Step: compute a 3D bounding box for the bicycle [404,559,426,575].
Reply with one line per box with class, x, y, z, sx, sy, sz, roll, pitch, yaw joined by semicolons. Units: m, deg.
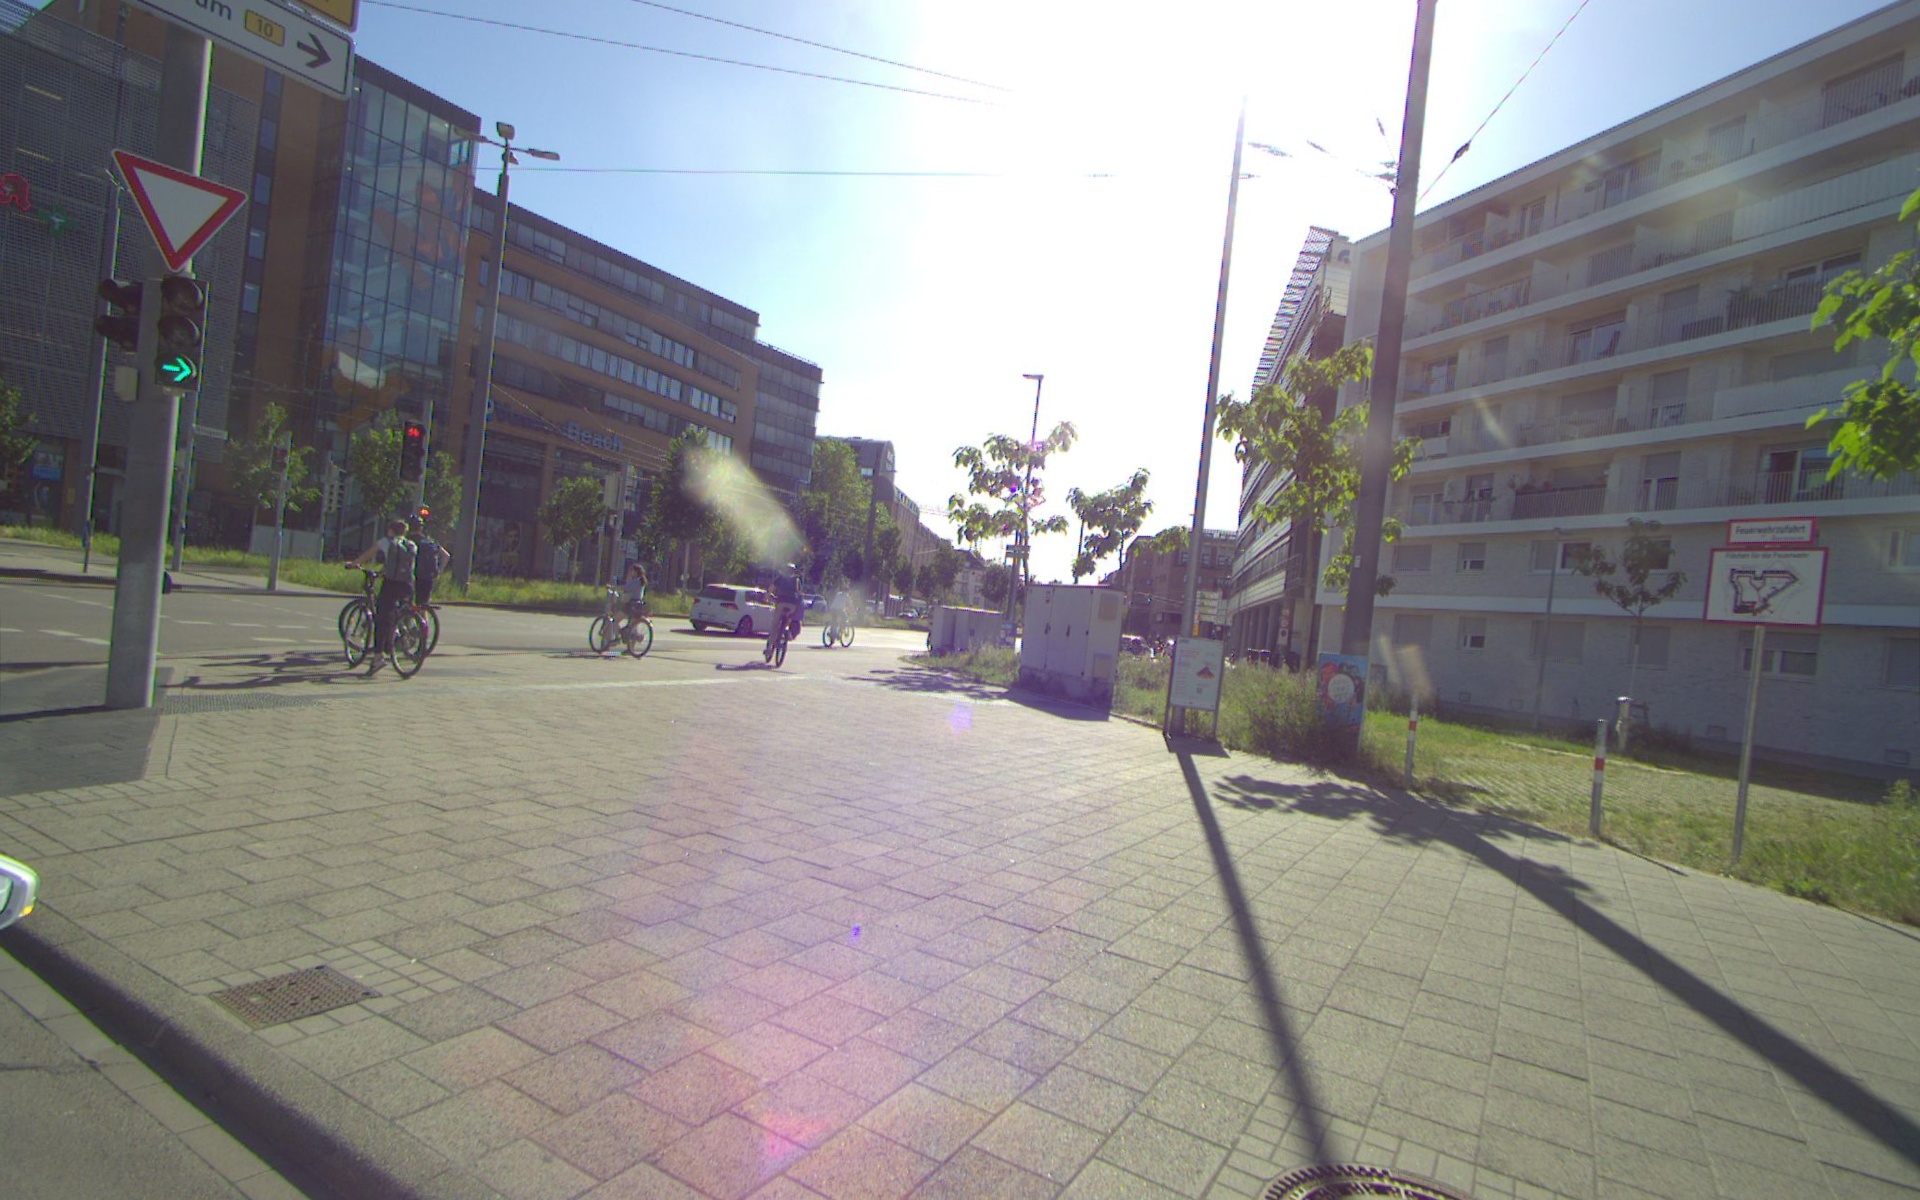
bicycle;-34.449;-2.085;63.591;1.425;0.829;0.445;7;1;27

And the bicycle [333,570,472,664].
bicycle;-7.339;0.216;13.223;1.862;1.051;0.605;5;0;27

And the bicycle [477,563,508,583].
bicycle;-33.522;-1.963;72.088;2.142;1.137;0.752;7;0;27

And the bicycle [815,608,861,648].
bicycle;-3.692;0.842;30.576;0.676;1.082;2.698;8;0;6

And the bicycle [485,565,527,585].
bicycle;-30.409;-1.687;67.458;0.588;1.022;2.563;6;-1;33

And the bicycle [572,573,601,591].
bicycle;-28.993;-1.399;78.083;2.142;1.137;0.752;7;0;27

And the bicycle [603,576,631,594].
bicycle;-27.694;-1.229;81.142;2.142;1.137;0.752;7;0;27

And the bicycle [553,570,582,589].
bicycle;-29.941;-1.546;76.723;2.142;1.137;0.752;7;0;27

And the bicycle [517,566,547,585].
bicycle;-31.590;-1.810;74.234;2.142;1.137;0.752;7;0;27

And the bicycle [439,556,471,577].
bicycle;-34.812;-2.322;69.293;2.142;1.137;0.752;7;0;27

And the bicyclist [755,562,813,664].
bicyclist;-3.221;0.220;18.388;0.796;1.714;1.049;8;1;-11

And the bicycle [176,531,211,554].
bicycle;-40.033;-2.994;52.560;2.142;0.966;0.492;7;1;27

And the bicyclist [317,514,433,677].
bicyclist;-6.447;-0.053;11.079;0.987;1.675;0.594;6;1;32

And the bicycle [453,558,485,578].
bicycle;-34.270;-2.214;70.214;2.142;1.137;0.752;7;0;27

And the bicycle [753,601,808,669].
bicycle;-3.266;0.615;18.486;0.814;1.049;1.888;8;0;-8

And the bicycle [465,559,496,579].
bicycle;-33.879;-2.179;71.071;2.142;1.137;0.752;7;0;27

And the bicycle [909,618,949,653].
bicycle;-1.119;1.297;36.627;0.639;1.122;1.758;5;-2;25

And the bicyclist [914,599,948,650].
bicyclist;-1.053;0.903;36.700;0.640;1.774;1.044;6;1;26

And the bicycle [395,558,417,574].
bicycle;-34.725;-2.130;63.059;1.425;0.829;0.445;7;1;27

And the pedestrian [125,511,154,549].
pedestrian;-39.729;-3.389;48.712;0.586;1.706;0.778;6;0;18

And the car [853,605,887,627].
car;-9.926;1.783;111.451;2.185;2.038;5.260;6;-1;12

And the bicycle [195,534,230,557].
bicycle;-39.448;-2.884;53.054;2.142;0.966;0.492;7;1;27

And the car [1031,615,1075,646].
car;6.107;2.028;65.469;1.754;1.723;4.139;8;0;18

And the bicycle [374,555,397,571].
bicycle;-35.367;-2.261;61.894;1.425;0.829;0.445;7;1;27

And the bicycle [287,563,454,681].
bicycle;-6.537;0.229;11.125;1.978;1.119;0.695;5;0;32

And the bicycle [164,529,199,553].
bicycle;-40.267;-3.047;52.003;2.142;0.966;0.492;7;1;27

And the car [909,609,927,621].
car;-5.874;2.149;141.743;1.962;1.350;4.792;7;-1;4

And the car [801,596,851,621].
car;-11.394;0.783;85.837;1.780;1.672;5.548;6;-1;19

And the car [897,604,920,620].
car;-6.549;1.592;129.162;1.962;1.701;4.541;6;-1;7

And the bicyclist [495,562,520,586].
bicyclist;-30.350;-1.748;67.529;0.584;1.425;1.309;6;0;33

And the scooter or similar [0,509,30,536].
scooter or similar;-44.066;-3.612;46.710;0.272;1.115;1.203;6;-2;34

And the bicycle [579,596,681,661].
bicycle;-5.746;0.492;17.493;1.679;0.966;0.695;5;0;32

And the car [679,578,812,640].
car;-6.368;0.316;30.432;1.746;1.420;4.294;9;0;21

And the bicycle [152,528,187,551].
bicycle;-40.396;-3.089;51.403;2.142;0.966;0.492;7;1;27

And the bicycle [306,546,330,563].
bicycle;-37.461;-2.658;58.717;1.425;0.829;0.445;7;1;27

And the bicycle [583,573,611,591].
bicycle;-28.656;-1.403;79.437;2.142;1.137;0.752;7;0;27

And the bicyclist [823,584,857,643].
bicyclist;-3.644;0.428;30.561;0.608;1.690;1.020;8;1;6

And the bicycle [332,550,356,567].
bicycle;-36.852;-2.504;60.163;1.425;0.829;0.445;7;1;27

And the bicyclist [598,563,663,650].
bicyclist;-5.721;0.110;17.463;0.814;1.421;0.588;5;1;32

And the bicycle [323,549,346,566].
bicycle;-37.088;-2.546;59.648;1.425;0.829;0.445;7;1;27

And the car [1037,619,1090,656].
car;5.210;1.909;50.164;1.694;1.543;4.401;7;-1;17

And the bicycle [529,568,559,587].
bicycle;-31.089;-1.708;75.141;2.142;1.137;0.752;7;0;27

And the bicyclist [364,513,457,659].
bicyclist;-7.186;-0.177;13.158;0.890;1.821;0.549;5;1;27

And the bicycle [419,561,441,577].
bicycle;-33.966;-2.007;64.462;1.425;0.829;0.445;7;1;27

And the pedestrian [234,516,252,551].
pedestrian;-40.439;-3.755;56.761;0.369;1.937;0.539;6;-1;39

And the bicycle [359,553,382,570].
bicycle;-35.838;-2.346;61.193;1.425;0.829;0.445;7;1;27

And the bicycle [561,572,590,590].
bicycle;-29.585;-1.472;77.422;2.142;1.137;0.752;7;0;27

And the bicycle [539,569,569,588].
bicycle;-30.621;-1.615;75.931;2.142;1.137;0.752;7;0;27
